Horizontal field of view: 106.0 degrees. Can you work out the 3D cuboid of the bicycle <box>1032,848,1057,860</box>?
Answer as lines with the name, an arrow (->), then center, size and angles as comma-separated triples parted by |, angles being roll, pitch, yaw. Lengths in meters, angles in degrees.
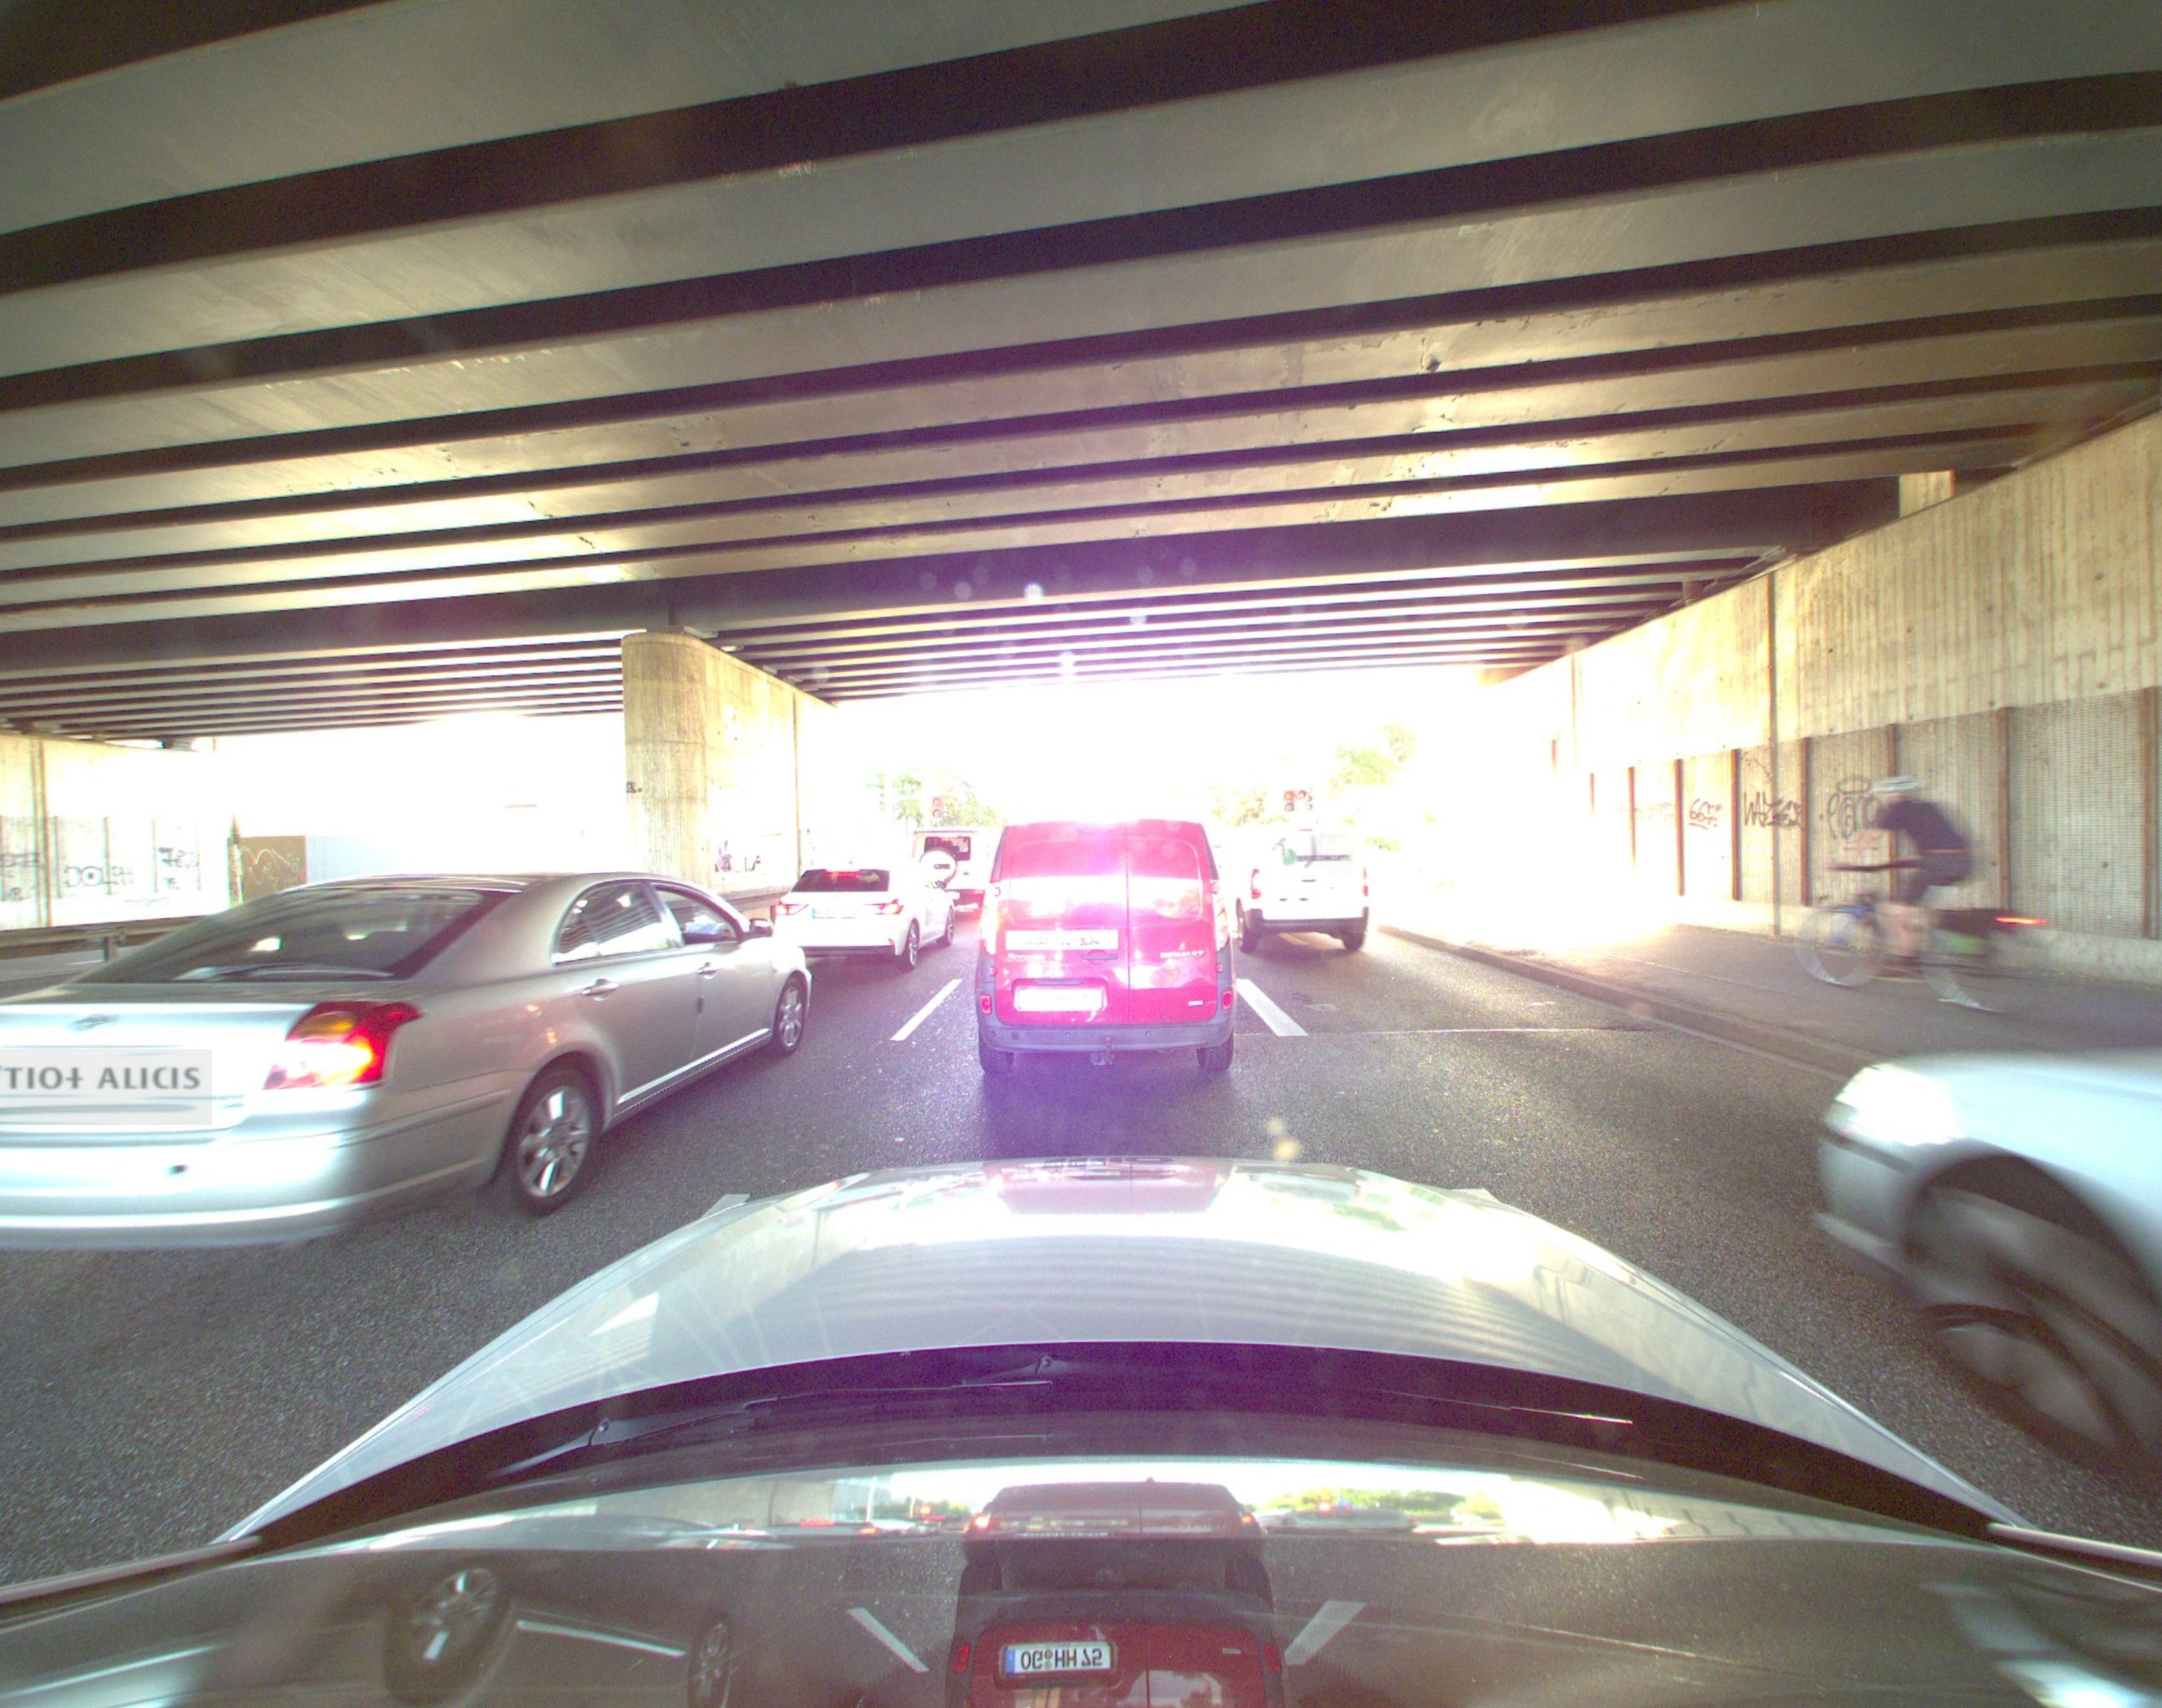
bicycle -> -2.886, -0.017, 64.749 | 1.945, 0.874, 0.700 | -1, 0, 2

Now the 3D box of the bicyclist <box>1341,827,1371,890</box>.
bicyclist -> 7.323, 0.118, 21.692 | 0.673, 1.629, 0.646 | 0, -1, 12

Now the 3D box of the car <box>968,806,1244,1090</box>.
car -> 0.216, 0.583, 7.090 | 1.712, 1.764, 4.002 | 0, 0, 2

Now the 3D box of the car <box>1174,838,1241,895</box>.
car -> 3.926, 0.352, 25.852 | 1.770, 1.655, 3.995 | 1, 0, 4

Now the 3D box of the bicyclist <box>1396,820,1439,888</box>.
bicyclist -> 7.927, 0.000, 19.211 | 0.667, 1.561, 0.735 | -2, -1, 1

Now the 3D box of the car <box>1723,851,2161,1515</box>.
car -> 3.249, 0.730, 0.701 | 1.740, 1.456, 4.663 | 0, 0, 0

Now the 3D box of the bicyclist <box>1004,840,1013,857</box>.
bicyclist -> -5.710, -0.457, 64.075 | 0.651, 1.329, 0.602 | 0, -1, -2

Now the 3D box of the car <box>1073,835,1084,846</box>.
car -> -0.461, -2.560, 159.346 | 1.986, 2.014, 4.001 | 0, 0, 2

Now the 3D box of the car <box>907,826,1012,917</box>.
car -> -2.718, 0.357, 19.109 | 1.807, 1.904, 3.814 | 0, 0, 1

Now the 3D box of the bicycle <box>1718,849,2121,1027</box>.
bicycle -> 6.618, 0.557, 6.725 | 0.762, 1.146, 2.470 | -4, 1, 1

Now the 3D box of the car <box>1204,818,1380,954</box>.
car -> 3.183, 0.403, 13.175 | 1.807, 1.833, 4.301 | 0, 1, 1

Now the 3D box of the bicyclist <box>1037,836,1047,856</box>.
bicyclist -> -3.088, -0.611, 64.749 | 0.752, 1.542, 0.697 | -1, 0, 2

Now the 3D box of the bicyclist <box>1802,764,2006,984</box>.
bicyclist -> 6.585, 0.152, 6.571 | 0.744, 1.655, 0.886 | 0, -1, 1

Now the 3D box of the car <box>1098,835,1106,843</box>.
car -> 5.756, -4.034, 220.836 | 1.986, 2.014, 4.001 | 0, 0, 2

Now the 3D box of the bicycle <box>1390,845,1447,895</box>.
bicycle -> 7.932, 0.361, 19.217 | 0.678, 1.113, 1.604 | -1, 0, 1

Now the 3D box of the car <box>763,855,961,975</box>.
car -> -2.916, 0.735, 11.692 | 1.686, 1.410, 3.815 | 0, 0, 2

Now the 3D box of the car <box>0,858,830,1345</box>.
car -> -3.023, 0.770, 4.696 | 1.690, 1.455, 4.399 | 0, 0, 1

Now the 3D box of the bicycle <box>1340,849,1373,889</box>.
bicycle -> 7.322, 0.396, 21.672 | 0.672, 1.024, 1.534 | 0, 0, 12

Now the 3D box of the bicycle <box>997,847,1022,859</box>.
bicycle -> -5.656, -0.066, 64.093 | 1.908, 0.867, 0.605 | -1, 0, -2
